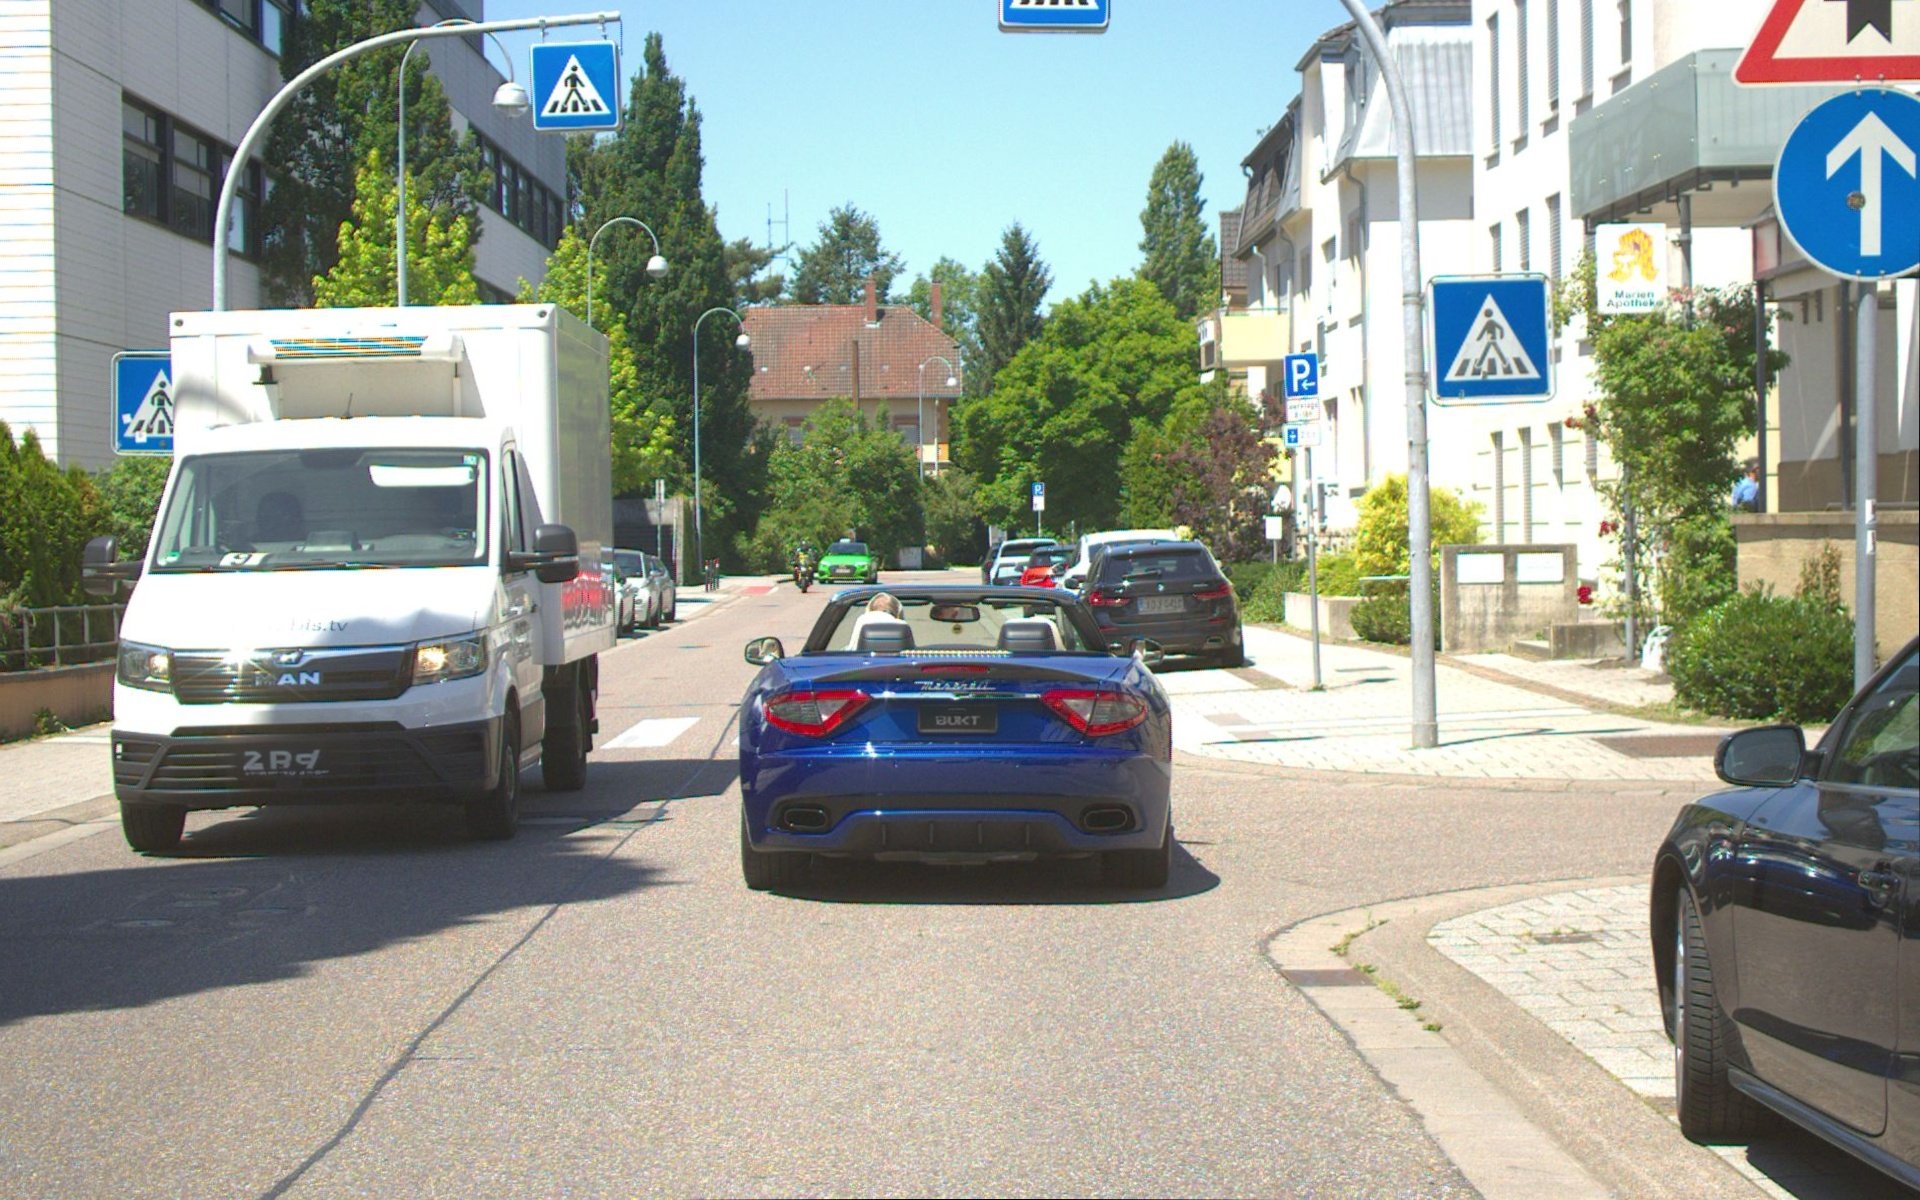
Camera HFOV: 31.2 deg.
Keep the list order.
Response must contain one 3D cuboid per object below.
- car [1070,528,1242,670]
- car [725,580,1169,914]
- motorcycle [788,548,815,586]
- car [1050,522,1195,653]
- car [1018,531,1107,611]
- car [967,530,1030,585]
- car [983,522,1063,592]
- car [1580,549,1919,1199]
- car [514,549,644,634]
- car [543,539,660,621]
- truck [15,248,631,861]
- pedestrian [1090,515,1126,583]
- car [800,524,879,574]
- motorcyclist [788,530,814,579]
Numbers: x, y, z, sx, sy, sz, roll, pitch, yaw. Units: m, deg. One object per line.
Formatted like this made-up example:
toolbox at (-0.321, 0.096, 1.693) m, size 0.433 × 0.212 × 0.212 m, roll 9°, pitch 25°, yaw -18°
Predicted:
car at (2.253, -0.061, 40.565) m, size 1.705 × 1.551 × 4.748 m, roll -1°, pitch 1°, yaw 0°
car at (-0.077, 0.591, 16.516) m, size 1.826 × 1.332 × 4.700 m, roll 0°, pitch 1°, yaw -1°
motorcycle at (-4.794, -1.009, 104.022) m, size 0.699 × 1.103 × 1.790 m, roll -2°, pitch 1°, yaw 0°
car at (2.160, -0.211, 46.722) m, size 1.705 × 1.660 × 4.580 m, roll -1°, pitch 1°, yaw 0°
car at (2.000, -0.591, 68.010) m, size 1.603 × 1.436 × 3.853 m, roll -4°, pitch 1°, yaw 1°
car at (1.102, -1.243, 99.653) m, size 1.631 × 1.441 × 4.398 m, roll -3°, pitch 1°, yaw -1°
car at (1.539, -1.093, 85.380) m, size 1.843 × 1.614 × 4.427 m, roll -3°, pitch 1°, yaw 0°
car at (2.675, 0.608, 7.135) m, size 1.826 × 1.422 × 4.700 m, roll -2°, pitch 1°, yaw -1°
car at (-6.699, -0.176, 60.858) m, size 1.822 × 1.406 × 4.577 m, roll 1°, pitch 1°, yaw 0°
car at (-6.858, -0.411, 66.103) m, size 1.822 × 1.507 × 4.290 m, roll 0°, pitch 1°, yaw 0°
truck at (-3.447, -0.282, 20.127) m, size 2.420 × 2.973 × 6.258 m, roll -1°, pitch 1°, yaw 0°
pedestrian at (3.691, -1.273, 85.901) m, size 0.740 × 1.664 × 0.706 m, roll -4°, pitch 1°, yaw -2°
car at (-4.181, -1.772, 118.892) m, size 1.822 × 1.583 × 4.102 m, roll 1°, pitch 2°, yaw -15°
motorcyclist at (-4.809, -1.377, 103.818) m, size 0.699 × 1.428 × 0.707 m, roll -2°, pitch 1°, yaw 0°
